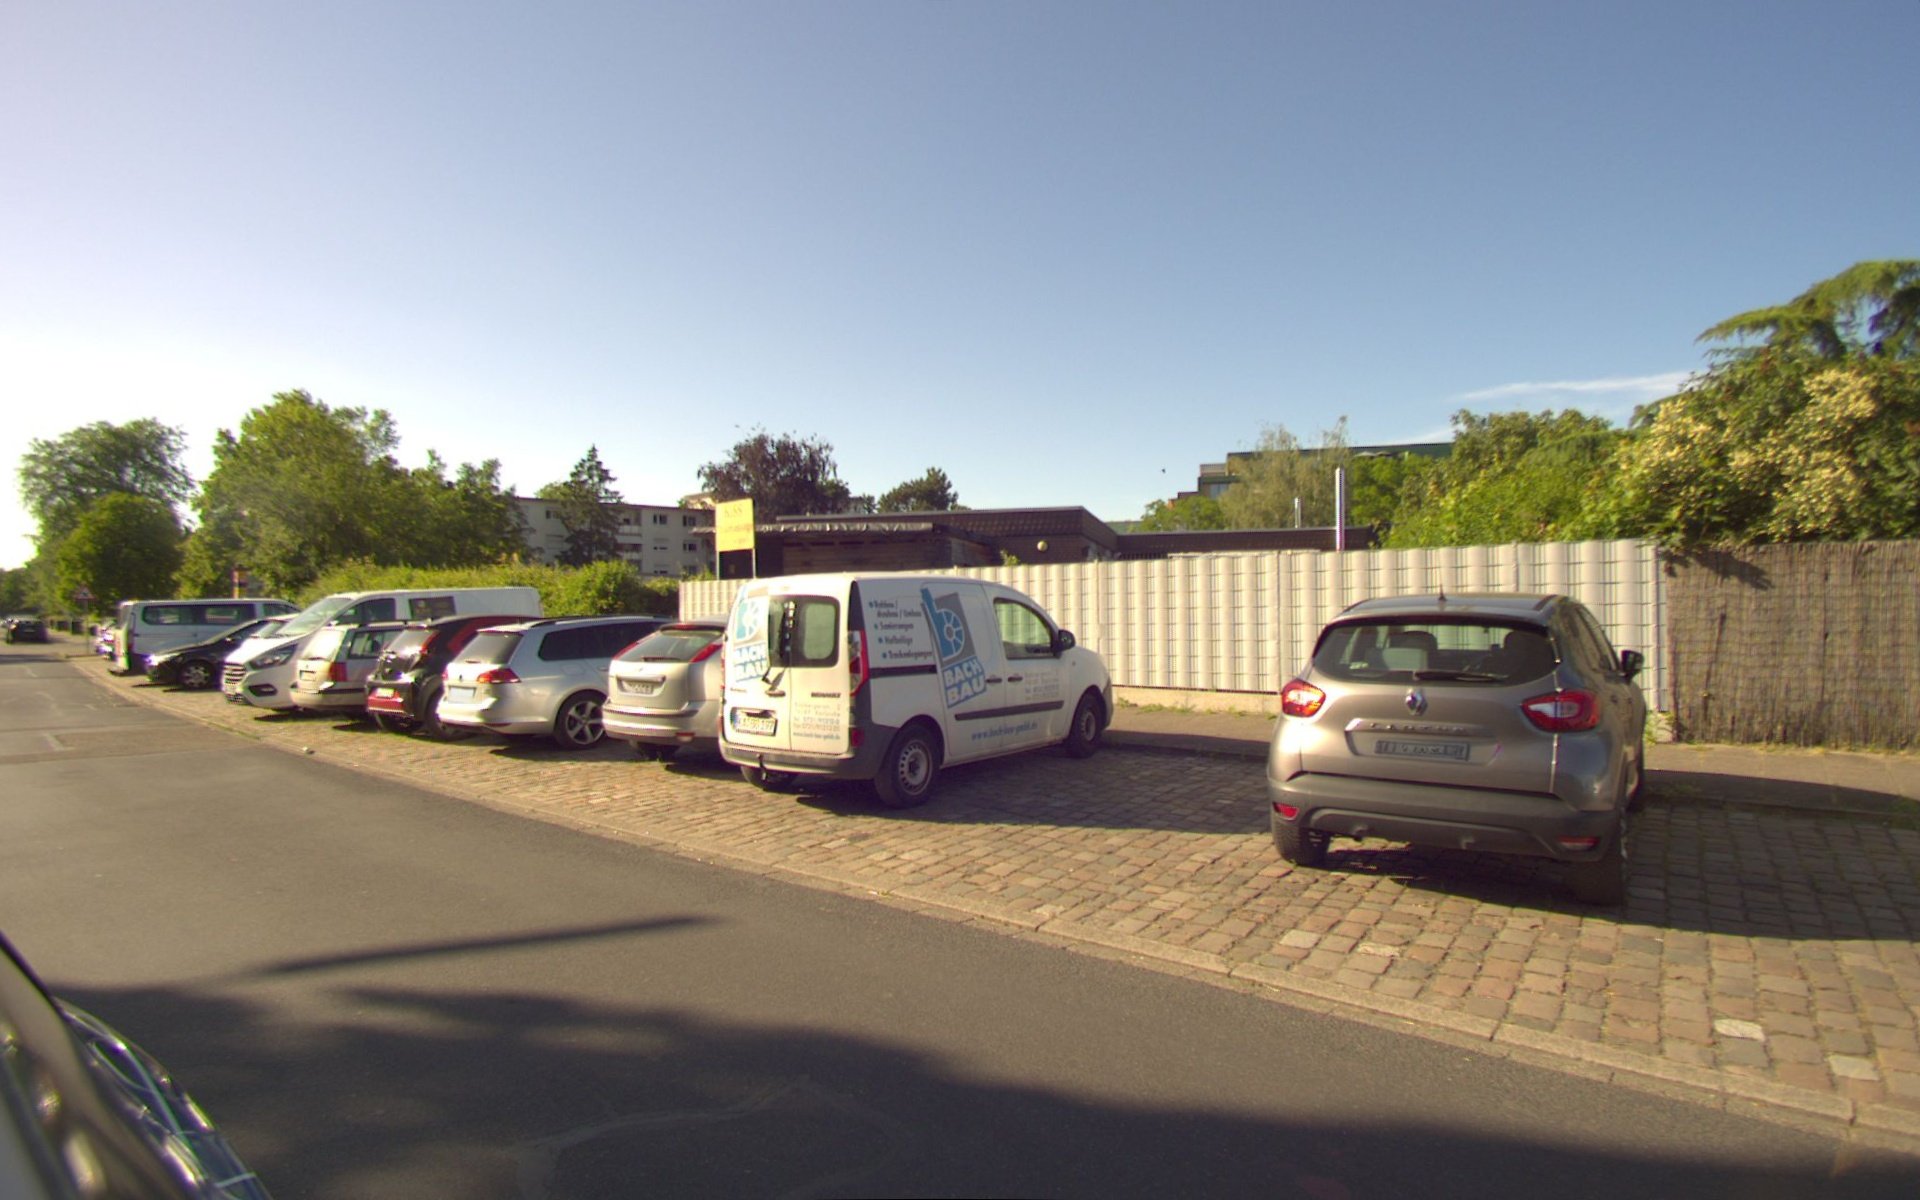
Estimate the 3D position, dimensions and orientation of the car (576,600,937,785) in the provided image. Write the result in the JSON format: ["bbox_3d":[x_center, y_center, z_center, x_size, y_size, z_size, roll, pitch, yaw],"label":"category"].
[{"bbox_3d":[-1.970,0.825,10.632,1.723,1.500,3.485,-3,0,34],"label":"car"}]

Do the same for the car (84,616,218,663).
[{"bbox_3d":[-32.095,1.518,40.209,1.832,1.544,3.943,-1,2,44],"label":"car"}]

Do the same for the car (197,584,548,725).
[{"bbox_3d":[-9.873,0.784,17.351,2.080,1.935,4.741,-1,1,39],"label":"car"}]

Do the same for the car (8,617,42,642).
[{"bbox_3d":[-74.657,2.357,80.831,1.882,1.956,4.515,3,-3,-43],"label":"car"}]

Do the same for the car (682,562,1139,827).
[{"bbox_3d":[-0.225,0.618,9.003,1.923,1.794,3.939,-2,0,38],"label":"car"}]

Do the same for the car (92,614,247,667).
[{"bbox_3d":[-26.861,1.341,34.470,3.941,1.490,1.792,-3,1,-44],"label":"car"}]

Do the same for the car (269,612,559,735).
[{"bbox_3d":[-8.135,0.996,15.319,1.634,1.457,3.482,-1,2,37],"label":"car"}]

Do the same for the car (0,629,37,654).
[{"bbox_3d":[-65.349,2.873,70.262,1.792,1.695,3.651,3,-3,-44],"label":"car"}]

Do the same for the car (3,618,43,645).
[{"bbox_3d":[-58.608,1.982,63.272,1.759,1.586,4.427,-1,0,-44],"label":"car"}]

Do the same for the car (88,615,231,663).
[{"bbox_3d":[-30.528,1.425,38.662,1.813,1.524,4.047,-1,2,44],"label":"car"}]

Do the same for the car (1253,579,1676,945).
[{"bbox_3d":[3.374,0.665,6.348,1.786,1.544,3.780,-1,0,36],"label":"car"}]

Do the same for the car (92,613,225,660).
[{"bbox_3d":[-33.755,1.472,42.709,1.847,1.668,4.141,-1,2,44],"label":"car"}]

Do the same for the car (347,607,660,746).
[{"bbox_3d":[-6.068,0.933,13.742,1.635,1.500,3.479,-3,0,39],"label":"car"}]

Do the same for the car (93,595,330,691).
[{"bbox_3d":[-18.424,0.966,25.054,2.001,1.991,4.429,-1,2,44],"label":"car"}]

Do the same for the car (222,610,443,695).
[{"bbox_3d":[-13.552,1.063,21.967,3.725,1.498,1.885,-3,2,-45],"label":"car"}]

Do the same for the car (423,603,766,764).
[{"bbox_3d":[-4.279,0.880,12.171,1.637,1.500,3.475,-2,1,44],"label":"car"}]

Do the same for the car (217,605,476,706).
[{"bbox_3d":[-11.813,0.977,19.647,3.942,1.594,1.885,-3,2,-45],"label":"car"}]

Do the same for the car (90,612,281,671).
[{"bbox_3d":[-23.921,1.234,31.391,4.492,1.490,1.749,-3,1,-44],"label":"car"}]

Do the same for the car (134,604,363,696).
[{"bbox_3d":[-16.191,1.053,23.159,4.098,1.718,1.888,-3,2,-38],"label":"car"}]
